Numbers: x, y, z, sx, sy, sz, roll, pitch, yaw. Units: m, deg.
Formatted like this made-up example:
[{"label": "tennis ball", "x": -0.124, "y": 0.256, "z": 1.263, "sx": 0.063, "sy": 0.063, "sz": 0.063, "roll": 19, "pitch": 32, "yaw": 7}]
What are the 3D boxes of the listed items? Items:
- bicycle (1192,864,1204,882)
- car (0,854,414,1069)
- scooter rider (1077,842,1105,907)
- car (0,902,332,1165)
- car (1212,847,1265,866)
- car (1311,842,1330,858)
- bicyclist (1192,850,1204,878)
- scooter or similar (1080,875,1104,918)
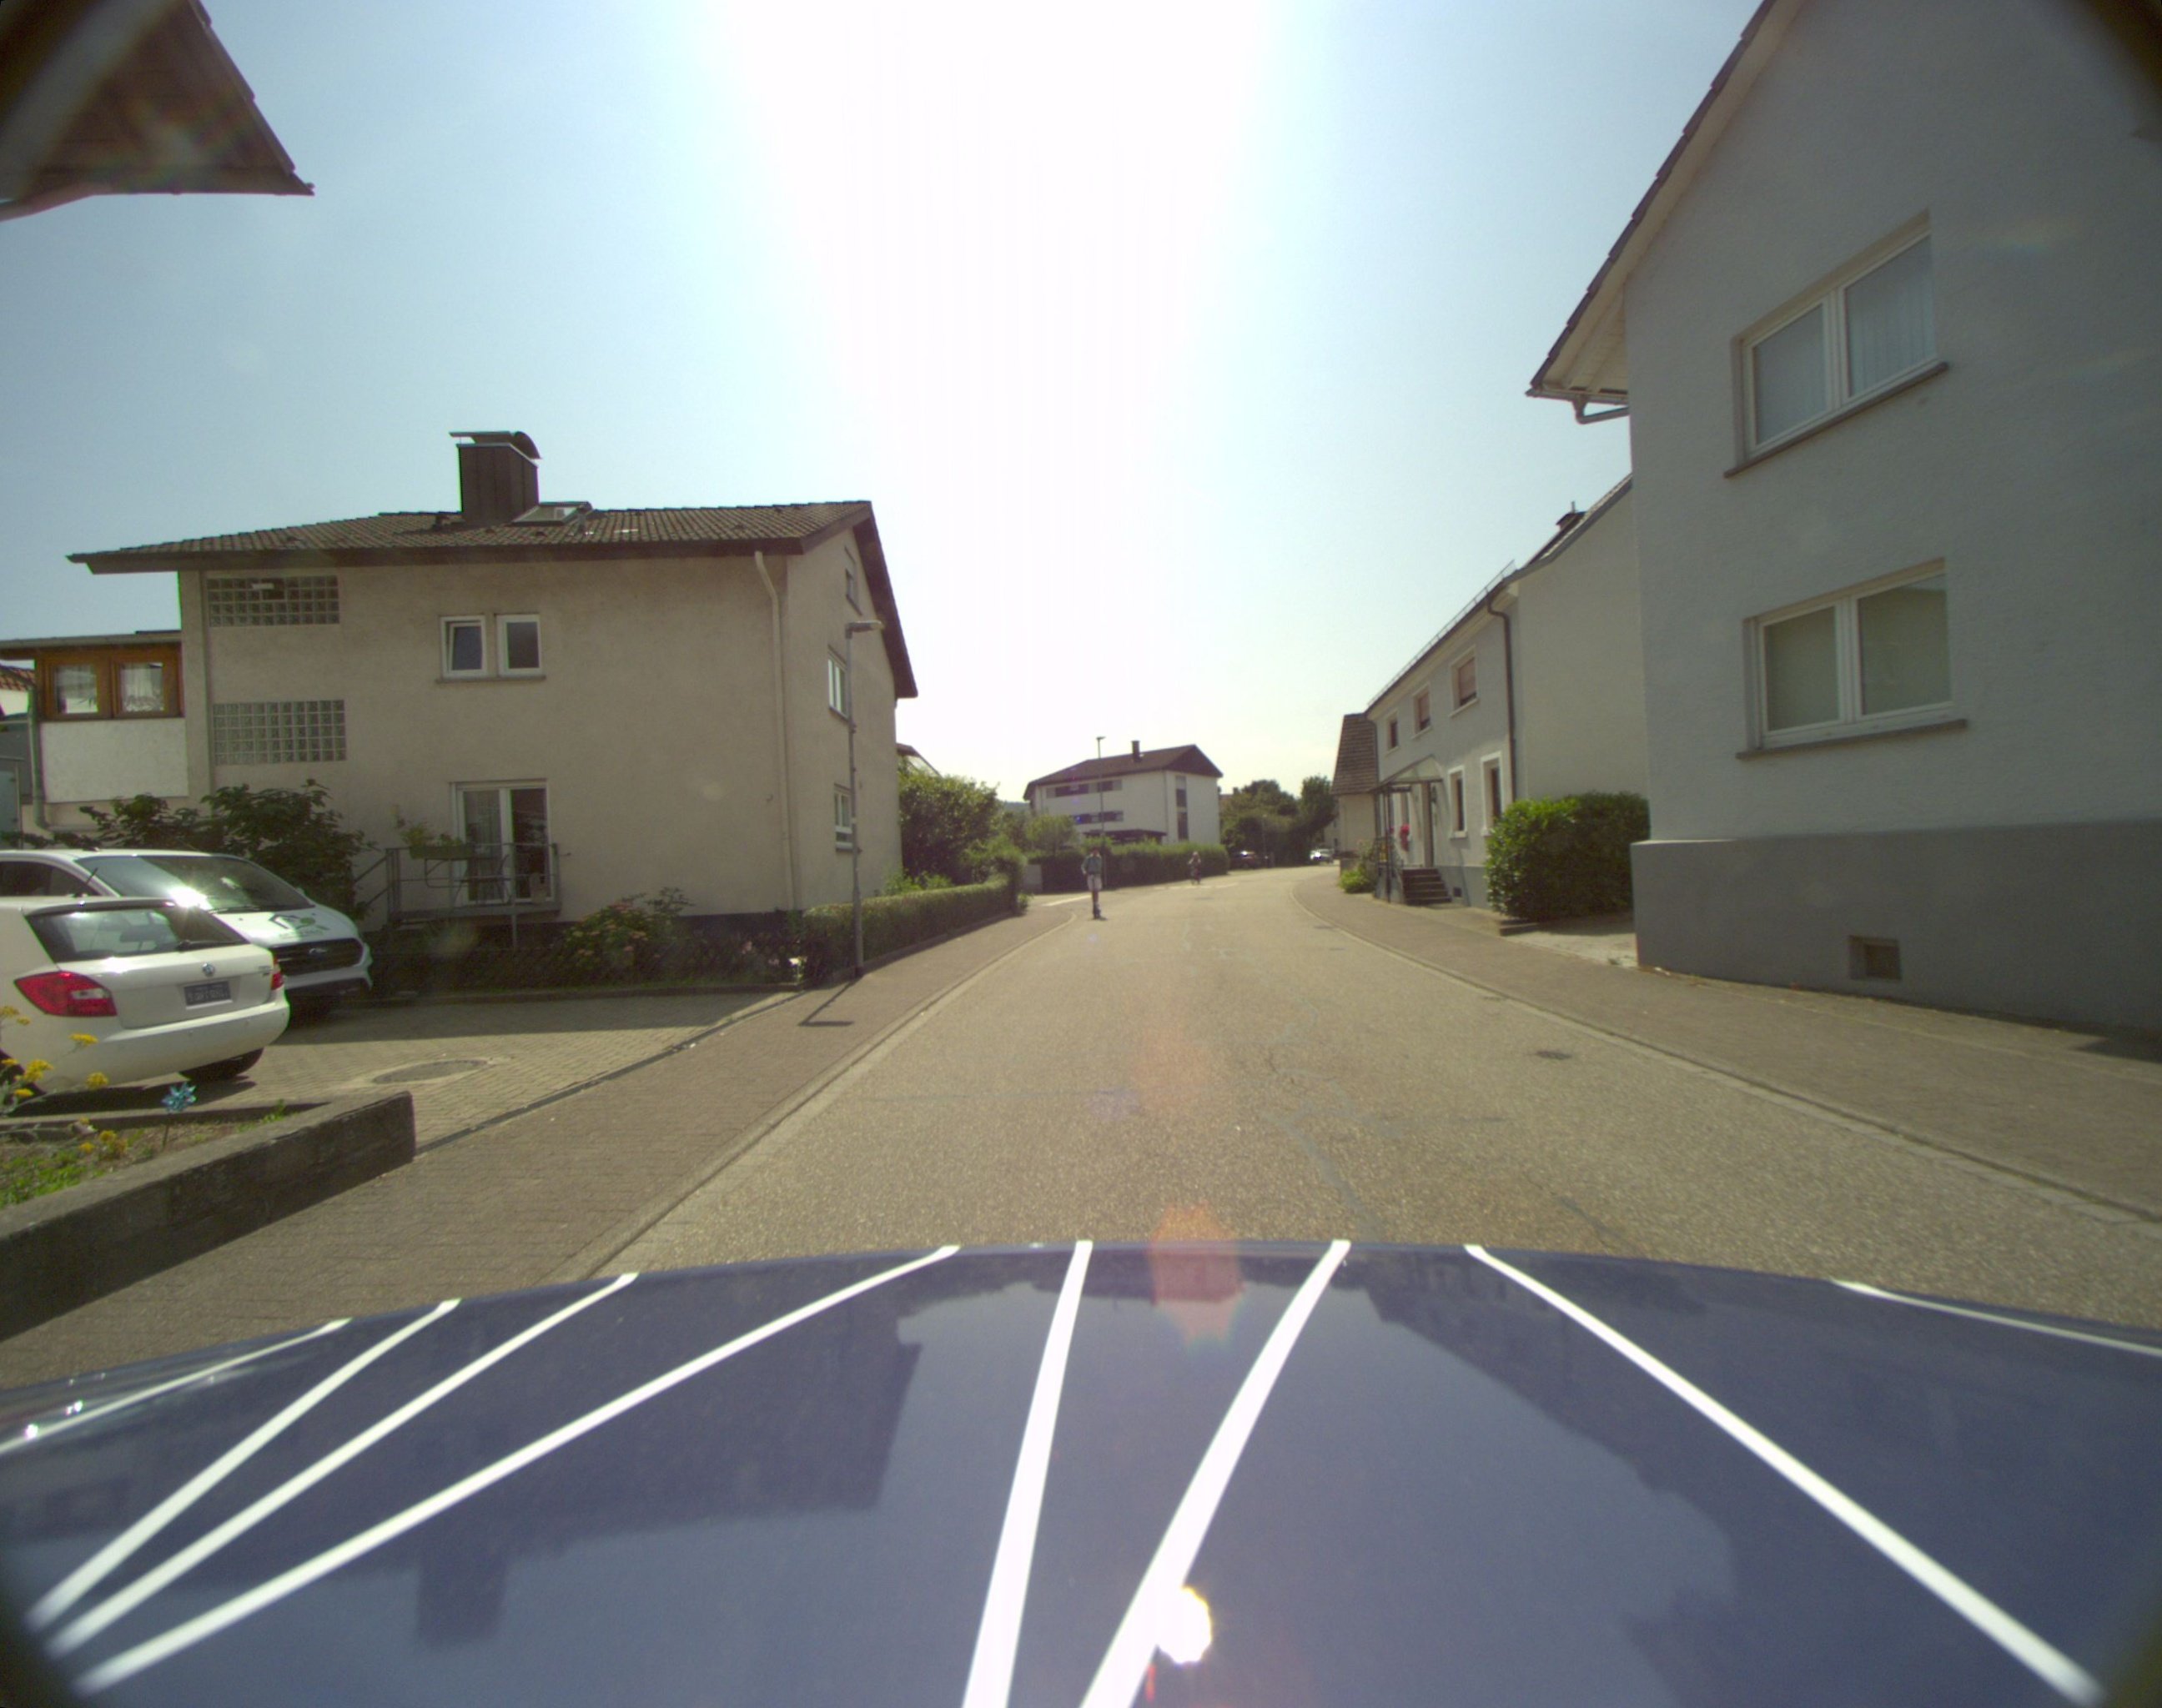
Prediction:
[{"label": "bicycle", "x": 6.269, "y": 1.008, "z": 40.636, "sx": 0.521, "sy": 0.898, "sz": 1.314, "roll": -2, "pitch": 0, "yaw": 12}, {"label": "car", "x": -10.428, "y": 1.032, "z": 7.946, "sx": 4.993, "sy": 1.901, "sz": 2.056, "roll": -2, "pitch": 0, "yaw": -1}, {"label": "scooter rider", "x": 0.266, "y": 0.542, "z": 20.496, "sx": 0.617, "sy": 1.714, "sz": 0.640, "roll": -2, "pitch": 1, "yaw": -4}, {"label": "car", "x": -7.904, "y": 1.157, "z": 5.140, "sx": 3.759, "sy": 1.452, "sz": 1.679, "roll": -2, "pitch": 0, "yaw": -7}, {"label": "car", "x": 14.484, "y": 0.199, "z": 69.857, "sx": 4.281, "sy": 1.662, "sz": 2.069, "roll": -1, "pitch": 1, "yaw": 30}, {"label": "car", "x": 27.714, "y": -0.453, "z": 87.846, "sx": 1.778, "sy": 1.830, "sz": 3.906, "roll": -1, "pitch": 0, "yaw": 21}, {"label": "bicyclist", "x": 6.233, "y": 0.521, "z": 40.561, "sx": 0.546, "sy": 1.481, "sz": 0.797, "roll": -2, "pitch": 1, "yaw": 12}, {"label": "scooter or similar", "x": 0.294, "y": 1.136, "z": 20.501, "sx": 0.543, "sy": 1.083, "sz": 0.691, "roll": -3, "pitch": 0, "yaw": -4}]
